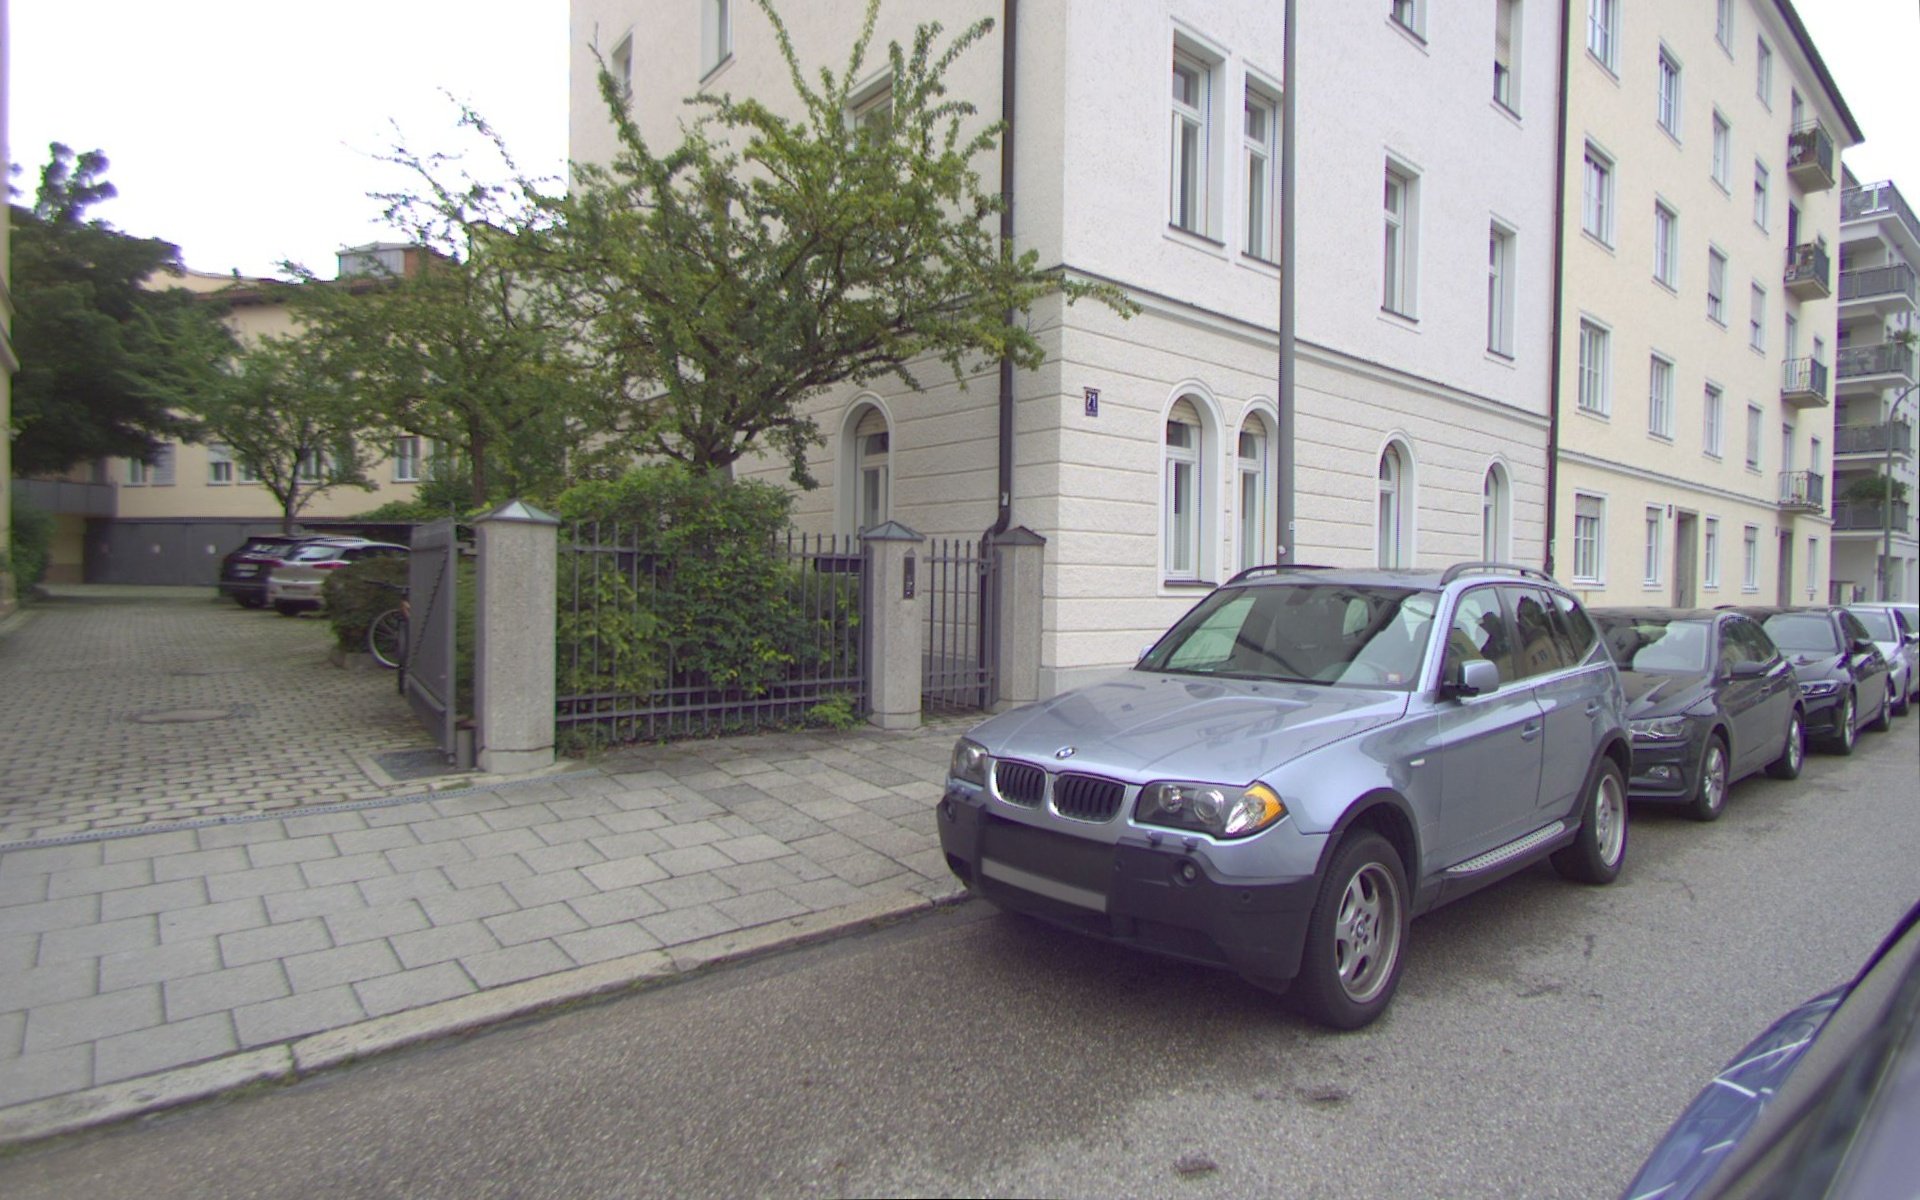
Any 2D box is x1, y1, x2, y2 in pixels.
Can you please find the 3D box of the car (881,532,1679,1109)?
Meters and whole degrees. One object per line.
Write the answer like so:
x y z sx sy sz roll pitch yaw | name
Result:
1.884 0.597 4.993 4.380 1.654 1.725 0 1 -41 | car

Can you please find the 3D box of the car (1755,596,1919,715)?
13.107 0.694 14.779 4.095 1.445 1.681 0 1 -42 | car

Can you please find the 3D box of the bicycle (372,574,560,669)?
-5.800 0.221 11.934 1.916 1.027 0.581 -1 1 -35 | bicycle

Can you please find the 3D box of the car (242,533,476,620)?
-12.033 -0.514 20.620 1.754 1.533 4.230 2 2 11 | car

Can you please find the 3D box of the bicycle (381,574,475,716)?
-4.949 0.354 9.354 0.570 1.108 1.880 0 3 -34 | bicycle

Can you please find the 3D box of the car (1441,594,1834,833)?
5.673 0.699 8.279 4.016 1.445 1.682 0 1 -41 | car

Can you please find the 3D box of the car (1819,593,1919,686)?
17.063 0.636 18.385 4.095 1.500 1.681 0 1 -42 | car

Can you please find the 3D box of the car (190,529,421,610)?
-14.246 -0.690 22.352 1.904 1.567 4.230 2 2 11 | car

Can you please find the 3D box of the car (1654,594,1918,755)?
9.486 0.682 11.492 4.316 1.445 1.681 0 1 -42 | car

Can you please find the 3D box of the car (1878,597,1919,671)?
20.765 0.675 21.284 4.366 1.427 1.682 0 1 -41 | car

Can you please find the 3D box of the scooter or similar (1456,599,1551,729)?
5.348 0.596 9.936 1.153 1.179 0.485 -1 1 -43 | scooter or similar
